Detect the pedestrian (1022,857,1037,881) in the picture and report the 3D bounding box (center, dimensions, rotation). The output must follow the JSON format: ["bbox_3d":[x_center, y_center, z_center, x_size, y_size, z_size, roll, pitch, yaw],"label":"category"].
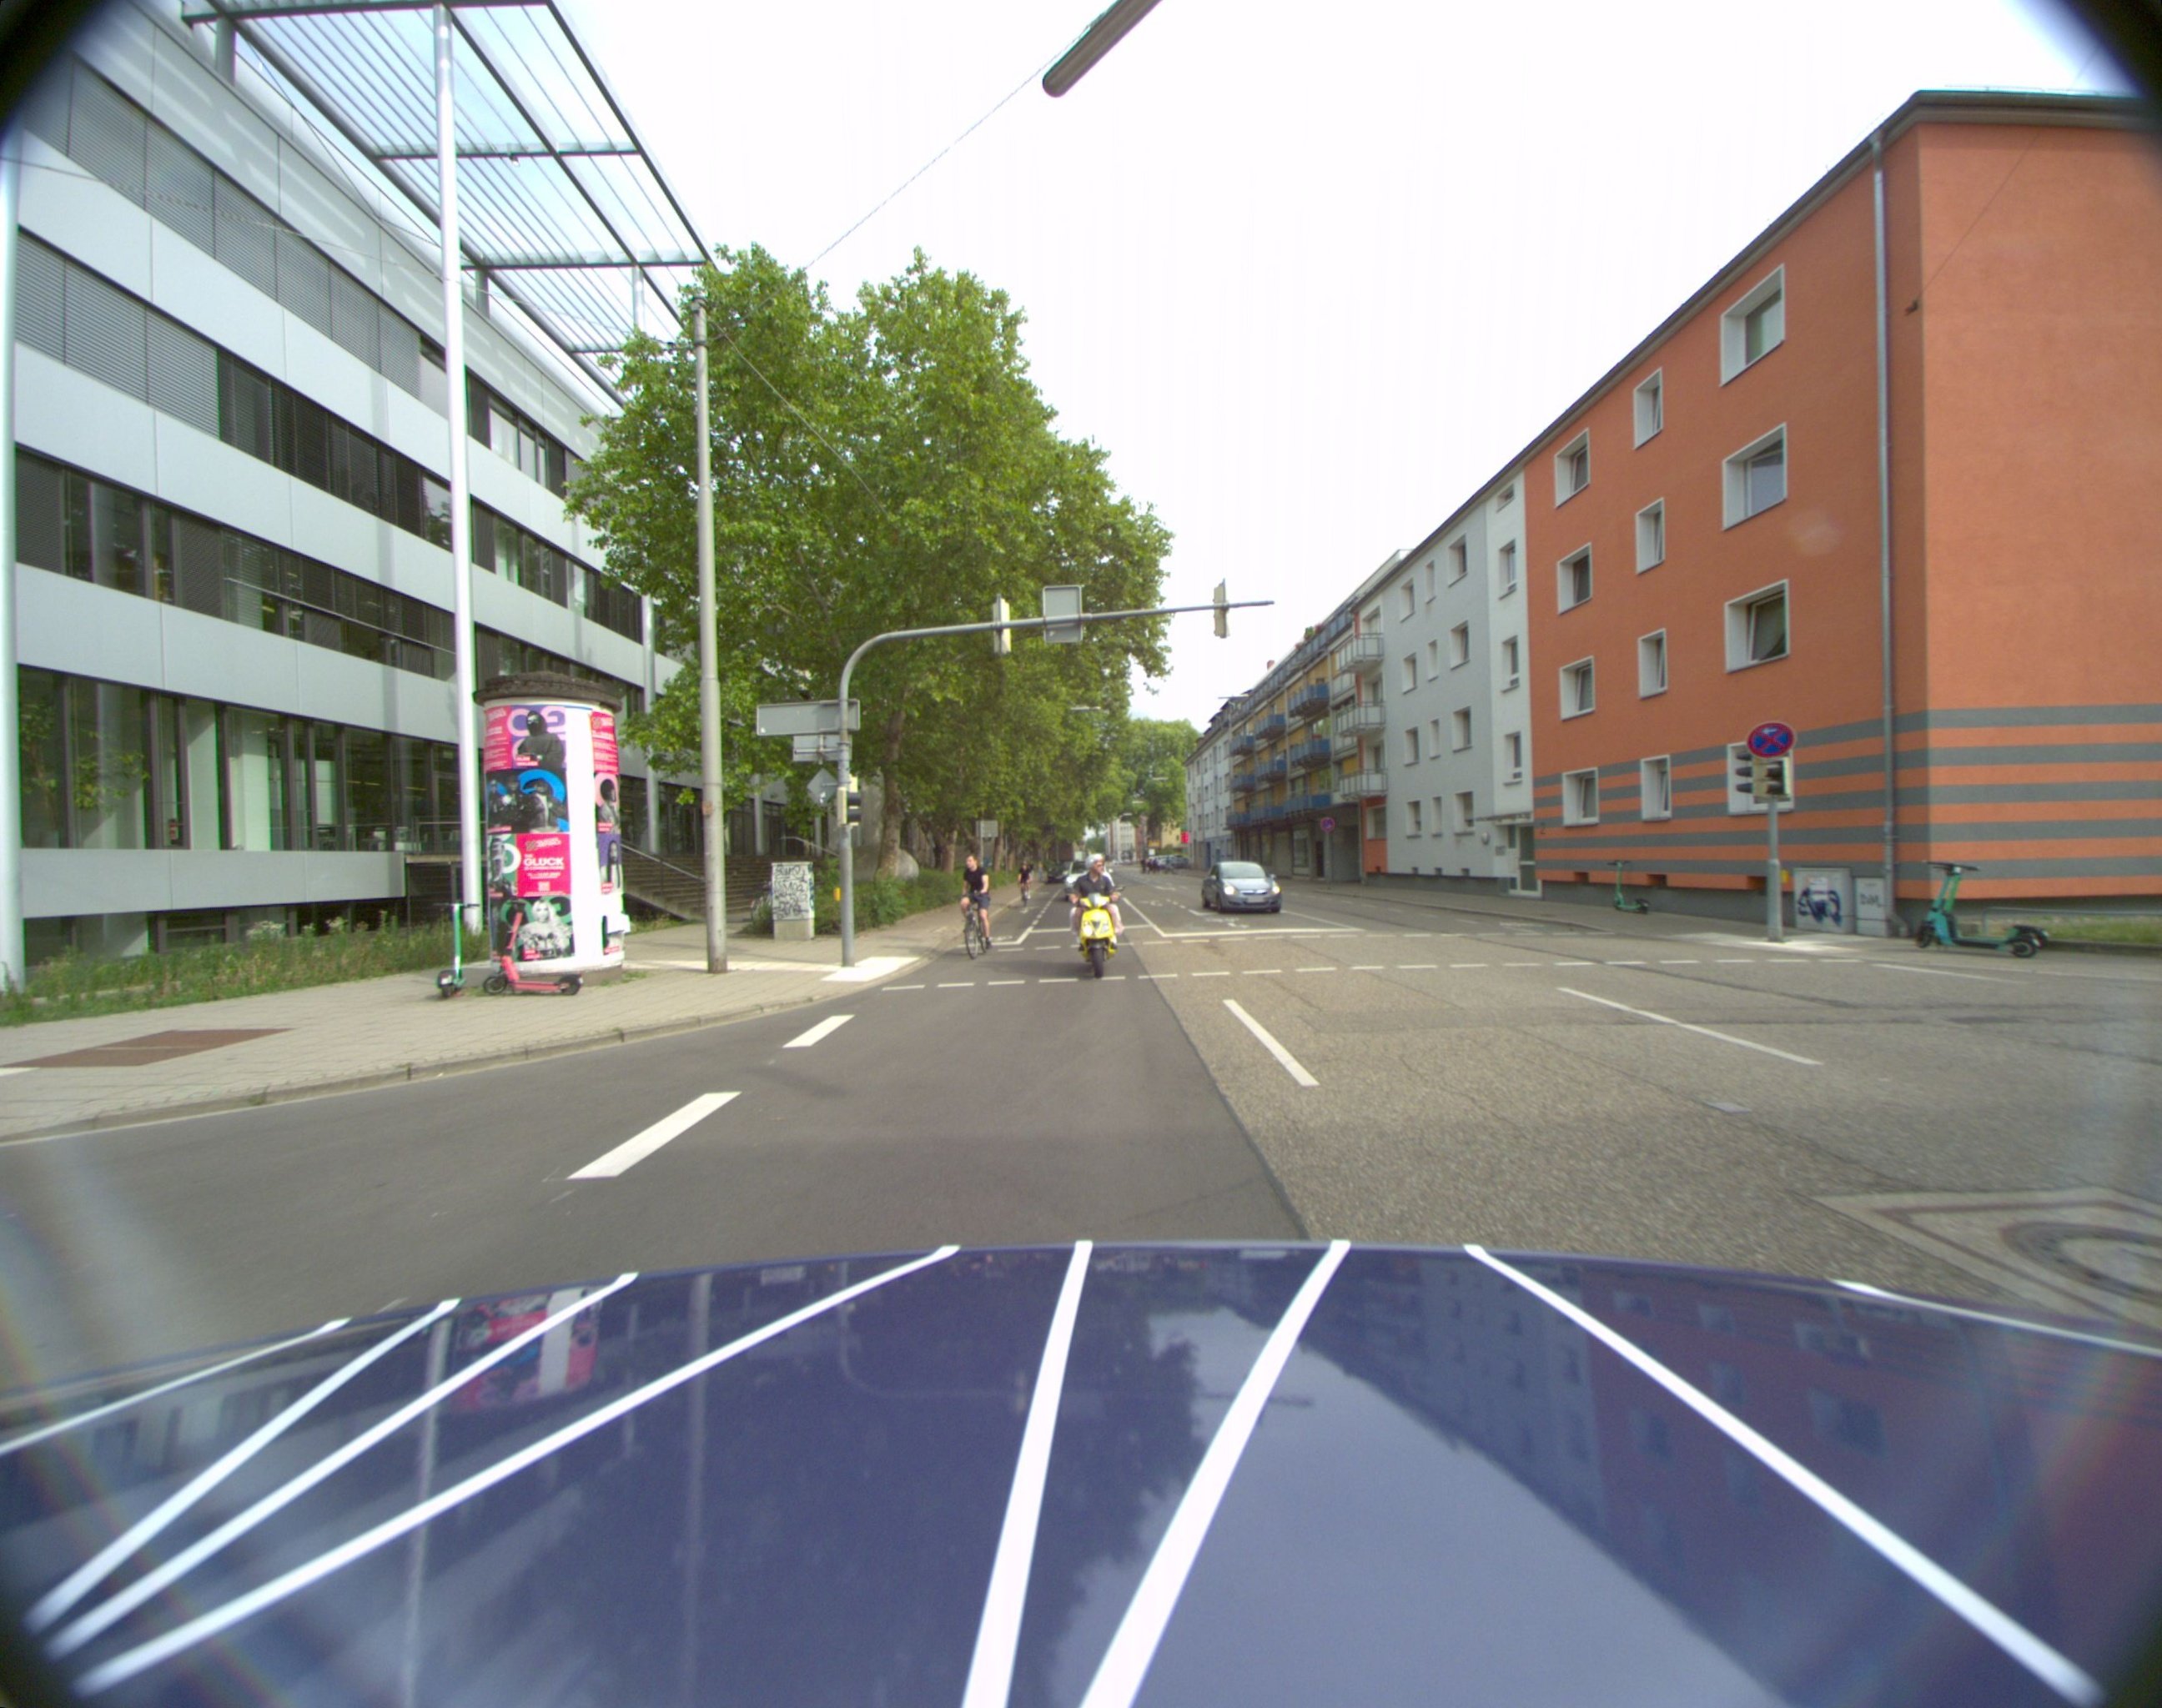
[{"bbox_3d":[-4.392,1.247,64.878,1.003,2.002,0.997,-3,0,2],"label":"pedestrian"}]

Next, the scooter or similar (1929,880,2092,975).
[{"bbox_3d":[12.518,0.953,10.284,0.330,1.151,1.352,-3,0,-13],"label":"scooter or similar"}]

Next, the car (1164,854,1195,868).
[{"bbox_3d":[13.266,0.941,102.209,3.870,1.678,1.882,-3,0,0],"label":"car"}]

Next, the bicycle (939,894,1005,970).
[{"bbox_3d":[-1.888,1.333,13.483,0.773,1.124,2.004,-4,0,1],"label":"bicycle"}]

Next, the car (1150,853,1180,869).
[{"bbox_3d":[12.114,1.001,109.364,3.997,2.002,2.000,-3,0,0],"label":"car"}]

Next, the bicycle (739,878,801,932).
[{"bbox_3d":[-7.388,1.188,18.143,0.700,1.162,1.725,-3,0,0],"label":"bicycle"}]

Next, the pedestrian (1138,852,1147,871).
[{"bbox_3d":[6.643,0.846,82.099,0.842,2.002,0.875,-3,0,4],"label":"pedestrian"}]

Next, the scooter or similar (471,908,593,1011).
[{"bbox_3d":[-6.756,1.287,9.370,1.309,1.202,0.344,0,1,5],"label":"scooter or similar"}]

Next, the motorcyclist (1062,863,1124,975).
[{"bbox_3d":[0.169,0.844,10.142,0.781,1.419,0.764,-1,-1,2],"label":"motorcyclist"}]

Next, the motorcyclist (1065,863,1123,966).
[{"bbox_3d":[0.190,0.843,10.827,0.781,1.419,0.689,-1,-1,2],"label":"motorcyclist"}]

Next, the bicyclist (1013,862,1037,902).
[{"bbox_3d":[-2.087,1.028,28.432,0.784,1.438,0.914,-3,0,-2],"label":"bicyclist"}]

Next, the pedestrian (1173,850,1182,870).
[{"bbox_3d":[9.931,0.638,78.324,0.842,2.002,0.875,-3,0,4],"label":"pedestrian"}]

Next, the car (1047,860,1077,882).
[{"bbox_3d":[-1.442,1.268,59.436,1.998,1.532,4.272,-3,0,1],"label":"car"}]

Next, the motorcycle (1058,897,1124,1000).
[{"bbox_3d":[0.163,1.209,10.225,0.781,1.171,1.993,-1,-1,2],"label":"motorcycle"}]

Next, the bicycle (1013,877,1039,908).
[{"bbox_3d":[-2.049,1.420,28.523,0.771,1.009,2.407,-5,0,-2],"label":"bicycle"}]

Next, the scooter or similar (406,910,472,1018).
[{"bbox_3d":[-7.869,1.305,9.355,0.473,1.131,1.307,0,1,-34],"label":"scooter or similar"}]

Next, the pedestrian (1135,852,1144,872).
[{"bbox_3d":[6.194,0.864,80.580,0.842,2.002,0.875,-3,0,4],"label":"pedestrian"}]

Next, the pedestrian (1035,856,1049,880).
[{"bbox_3d":[-3.329,1.182,64.796,1.003,2.002,0.997,-3,0,2],"label":"pedestrian"}]

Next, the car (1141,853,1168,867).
[{"bbox_3d":[11.458,0.934,118.787,3.997,2.002,2.000,-3,0,0],"label":"car"}]

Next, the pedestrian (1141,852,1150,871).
[{"bbox_3d":[6.932,0.825,81.273,0.842,2.002,0.875,-3,0,4],"label":"pedestrian"}]

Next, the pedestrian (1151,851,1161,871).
[{"bbox_3d":[7.733,0.765,78.575,0.842,2.002,0.875,-3,0,4],"label":"pedestrian"}]

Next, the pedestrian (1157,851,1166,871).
[{"bbox_3d":[8.577,0.727,80.647,0.842,2.002,0.875,-3,0,4],"label":"pedestrian"}]

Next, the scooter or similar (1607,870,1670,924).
[{"bbox_3d":[12.341,0.931,16.861,0.369,1.117,1.354,-3,0,1],"label":"scooter or similar"}]

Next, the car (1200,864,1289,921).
[{"bbox_3d":[4.586,1.033,21.852,1.673,1.430,3.820,-1,0,0],"label":"car"}]

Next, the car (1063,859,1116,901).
[{"bbox_3d":[0.428,1.069,32.599,1.998,1.543,4.522,-3,0,3],"label":"car"}]

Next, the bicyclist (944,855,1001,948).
[{"bbox_3d":[-1.944,0.829,13.687,0.773,1.574,0.801,-4,0,1],"label":"bicyclist"}]

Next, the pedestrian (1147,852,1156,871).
[{"bbox_3d":[7.349,0.791,79.309,0.842,2.002,0.875,-3,0,4],"label":"pedestrian"}]

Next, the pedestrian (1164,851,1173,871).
[{"bbox_3d":[8.989,0.691,78.127,0.842,2.002,0.875,-3,0,4],"label":"pedestrian"}]

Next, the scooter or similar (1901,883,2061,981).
[{"bbox_3d":[11.903,0.991,10.103,0.330,1.172,1.341,-3,0,-13],"label":"scooter or similar"}]

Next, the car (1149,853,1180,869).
[{"bbox_3d":[11.668,0.918,106.836,3.997,2.002,2.000,-3,0,0],"label":"car"}]

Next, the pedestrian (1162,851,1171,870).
[{"bbox_3d":[9.139,0.697,81.098,0.842,2.002,0.875,-3,0,4],"label":"pedestrian"}]
